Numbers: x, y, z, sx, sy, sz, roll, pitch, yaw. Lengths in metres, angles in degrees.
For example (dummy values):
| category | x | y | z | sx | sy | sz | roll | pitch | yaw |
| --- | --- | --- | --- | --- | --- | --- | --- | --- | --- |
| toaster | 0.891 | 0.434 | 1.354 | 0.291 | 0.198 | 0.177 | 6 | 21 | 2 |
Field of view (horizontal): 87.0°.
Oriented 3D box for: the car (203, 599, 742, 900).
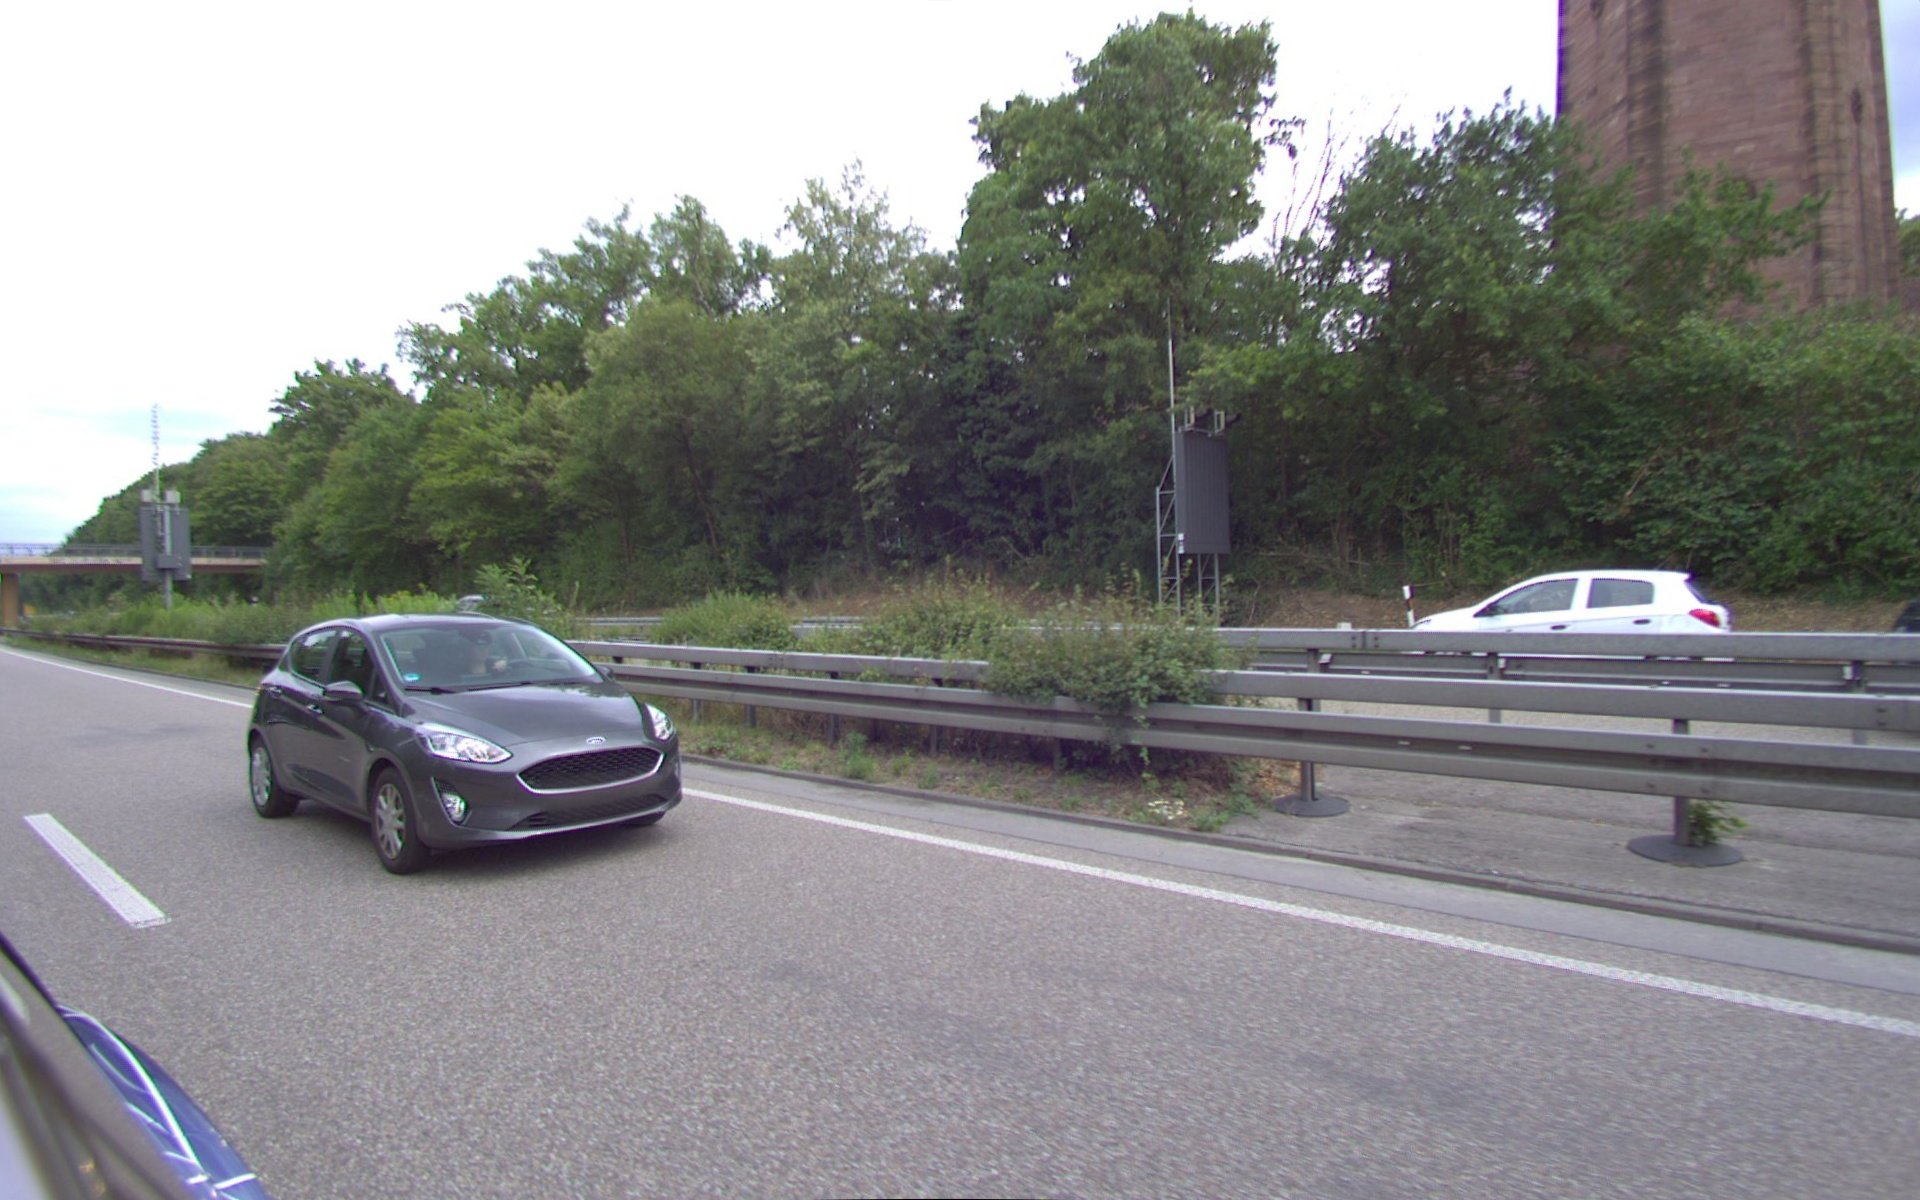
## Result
| category | x | y | z | sx | sy | sz | roll | pitch | yaw |
| --- | --- | --- | --- | --- | --- | --- | --- | --- | --- |
| car | -3.692 | 0.759 | 7.183 | 4.638 | 1.469 | 1.807 | -1 | -1 | 41 |

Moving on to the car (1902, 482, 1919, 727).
| category | x | y | z | sx | sy | sz | roll | pitch | yaw |
| --- | --- | --- | --- | --- | --- | --- | --- | --- | --- |
| car | 9.409 | 0.020 | 6.378 | 4.953 | 1.850 | 1.773 | -1 | -1 | 40 |

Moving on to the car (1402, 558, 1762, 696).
| category | x | y | z | sx | sy | sz | roll | pitch | yaw |
| --- | --- | --- | --- | --- | --- | --- | --- | --- | --- |
| car | 7.871 | 0.319 | 12.984 | 3.726 | 1.519 | 1.612 | -1 | -1 | 41 |

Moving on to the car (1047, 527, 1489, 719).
| category | x | y | z | sx | sy | sz | roll | pitch | yaw |
| --- | --- | --- | --- | --- | --- | --- | --- | --- | --- |
| car | 3.334 | 0.236 | 11.580 | 4.540 | 1.782 | 1.743 | -1 | -1 | 42 |

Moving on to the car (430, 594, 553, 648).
| category | x | y | z | sx | sy | sz | roll | pitch | yaw |
| --- | --- | --- | --- | --- | --- | --- | --- | --- | --- |
| car | -15.420 | 0.670 | 33.206 | 4.772 | 1.670 | 1.972 | -1 | -1 | 42 |
